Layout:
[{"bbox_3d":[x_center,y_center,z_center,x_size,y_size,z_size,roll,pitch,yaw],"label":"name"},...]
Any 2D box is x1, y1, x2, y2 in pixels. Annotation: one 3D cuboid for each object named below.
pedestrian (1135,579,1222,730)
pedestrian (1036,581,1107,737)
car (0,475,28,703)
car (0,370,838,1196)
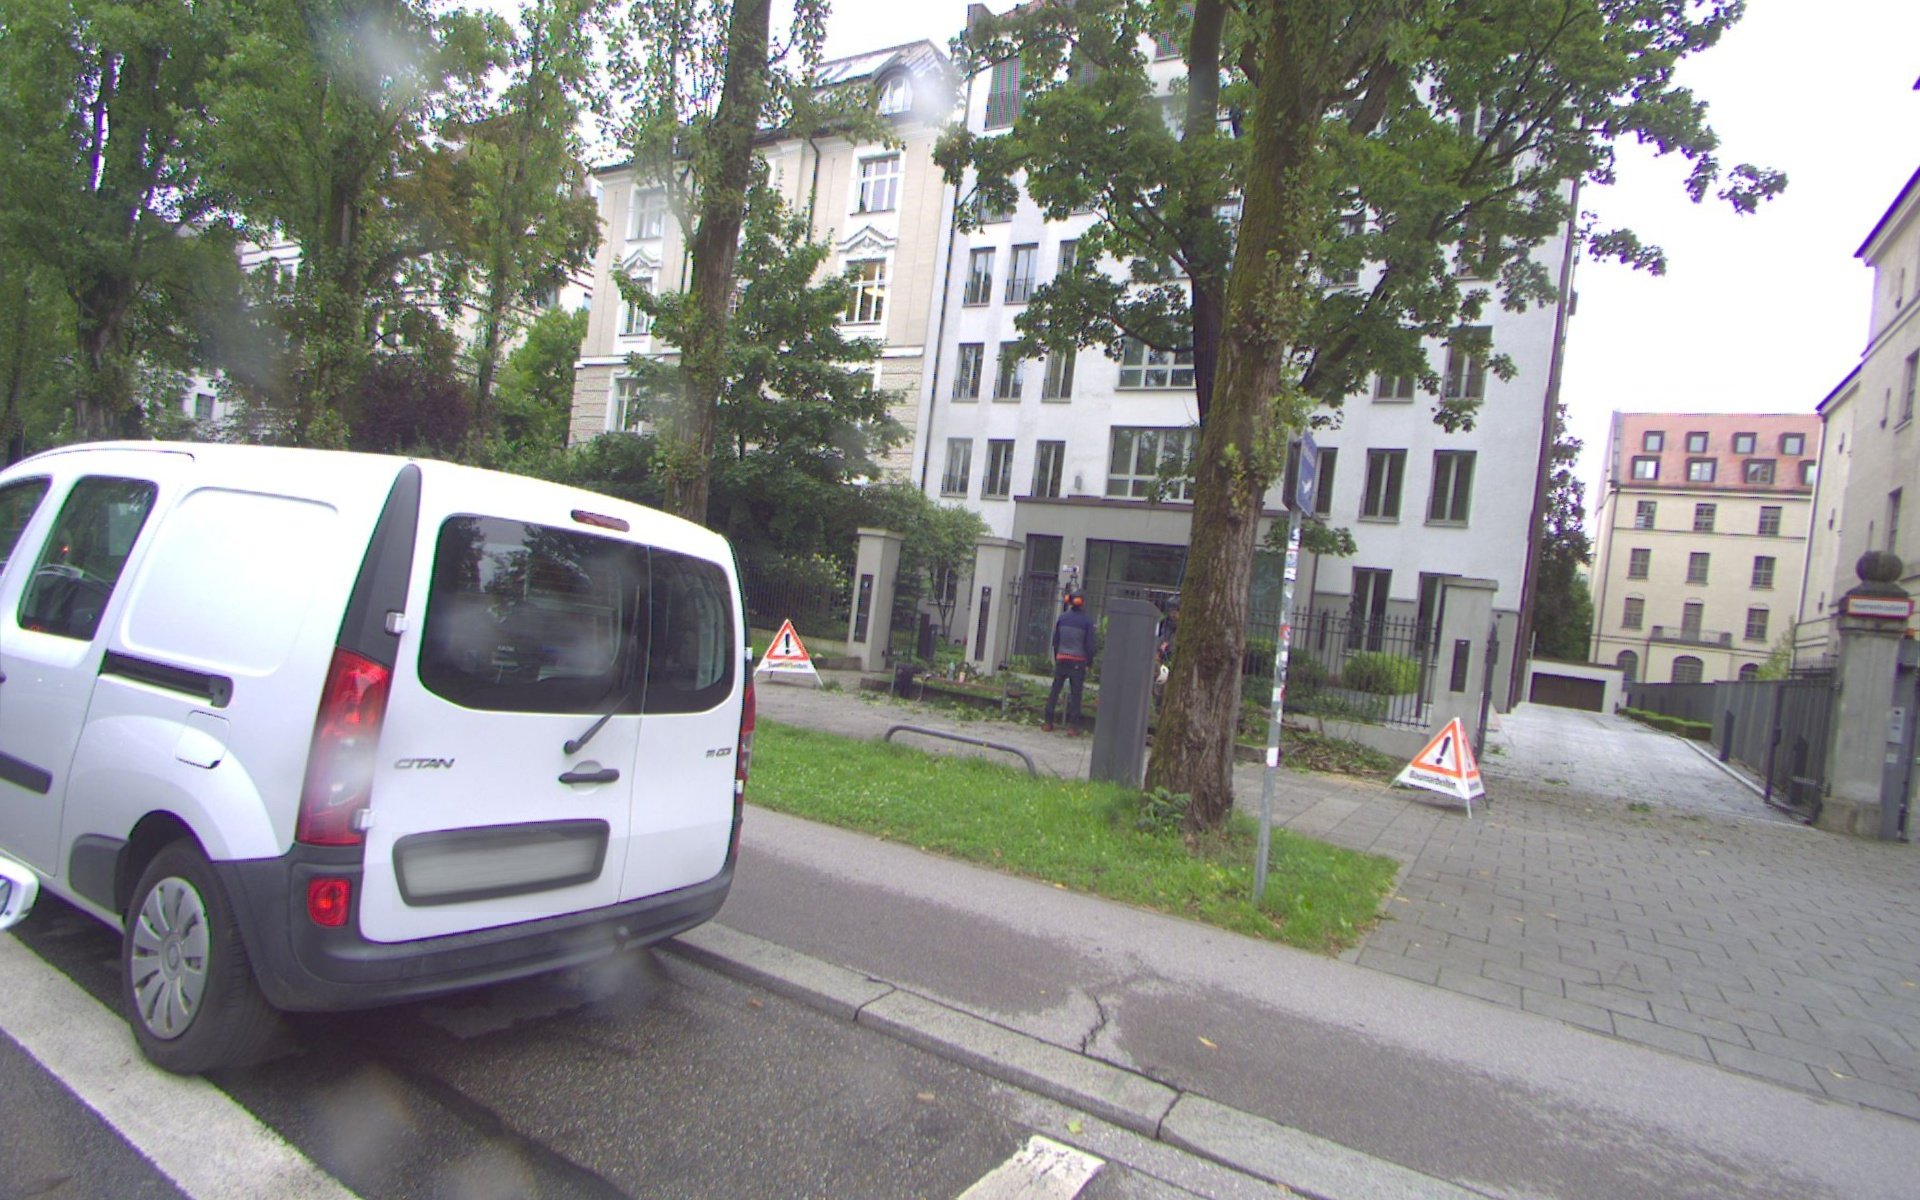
[{"bbox_3d":[2.876,0.703,13.343,0.814,1.823,0.904,9,2,10],"label":"pedestrian"},{"bbox_3d":[1.423,0.743,12.806,0.626,1.886,0.488,7,1,14],"label":"pedestrian"},{"bbox_3d":[-8.958,-0.346,7.521,4.141,1.612,1.743,7,0,31],"label":"car"},{"bbox_3d":[-2.795,0.273,4.133,4.097,1.904,1.854,7,0,30],"label":"car"}]
